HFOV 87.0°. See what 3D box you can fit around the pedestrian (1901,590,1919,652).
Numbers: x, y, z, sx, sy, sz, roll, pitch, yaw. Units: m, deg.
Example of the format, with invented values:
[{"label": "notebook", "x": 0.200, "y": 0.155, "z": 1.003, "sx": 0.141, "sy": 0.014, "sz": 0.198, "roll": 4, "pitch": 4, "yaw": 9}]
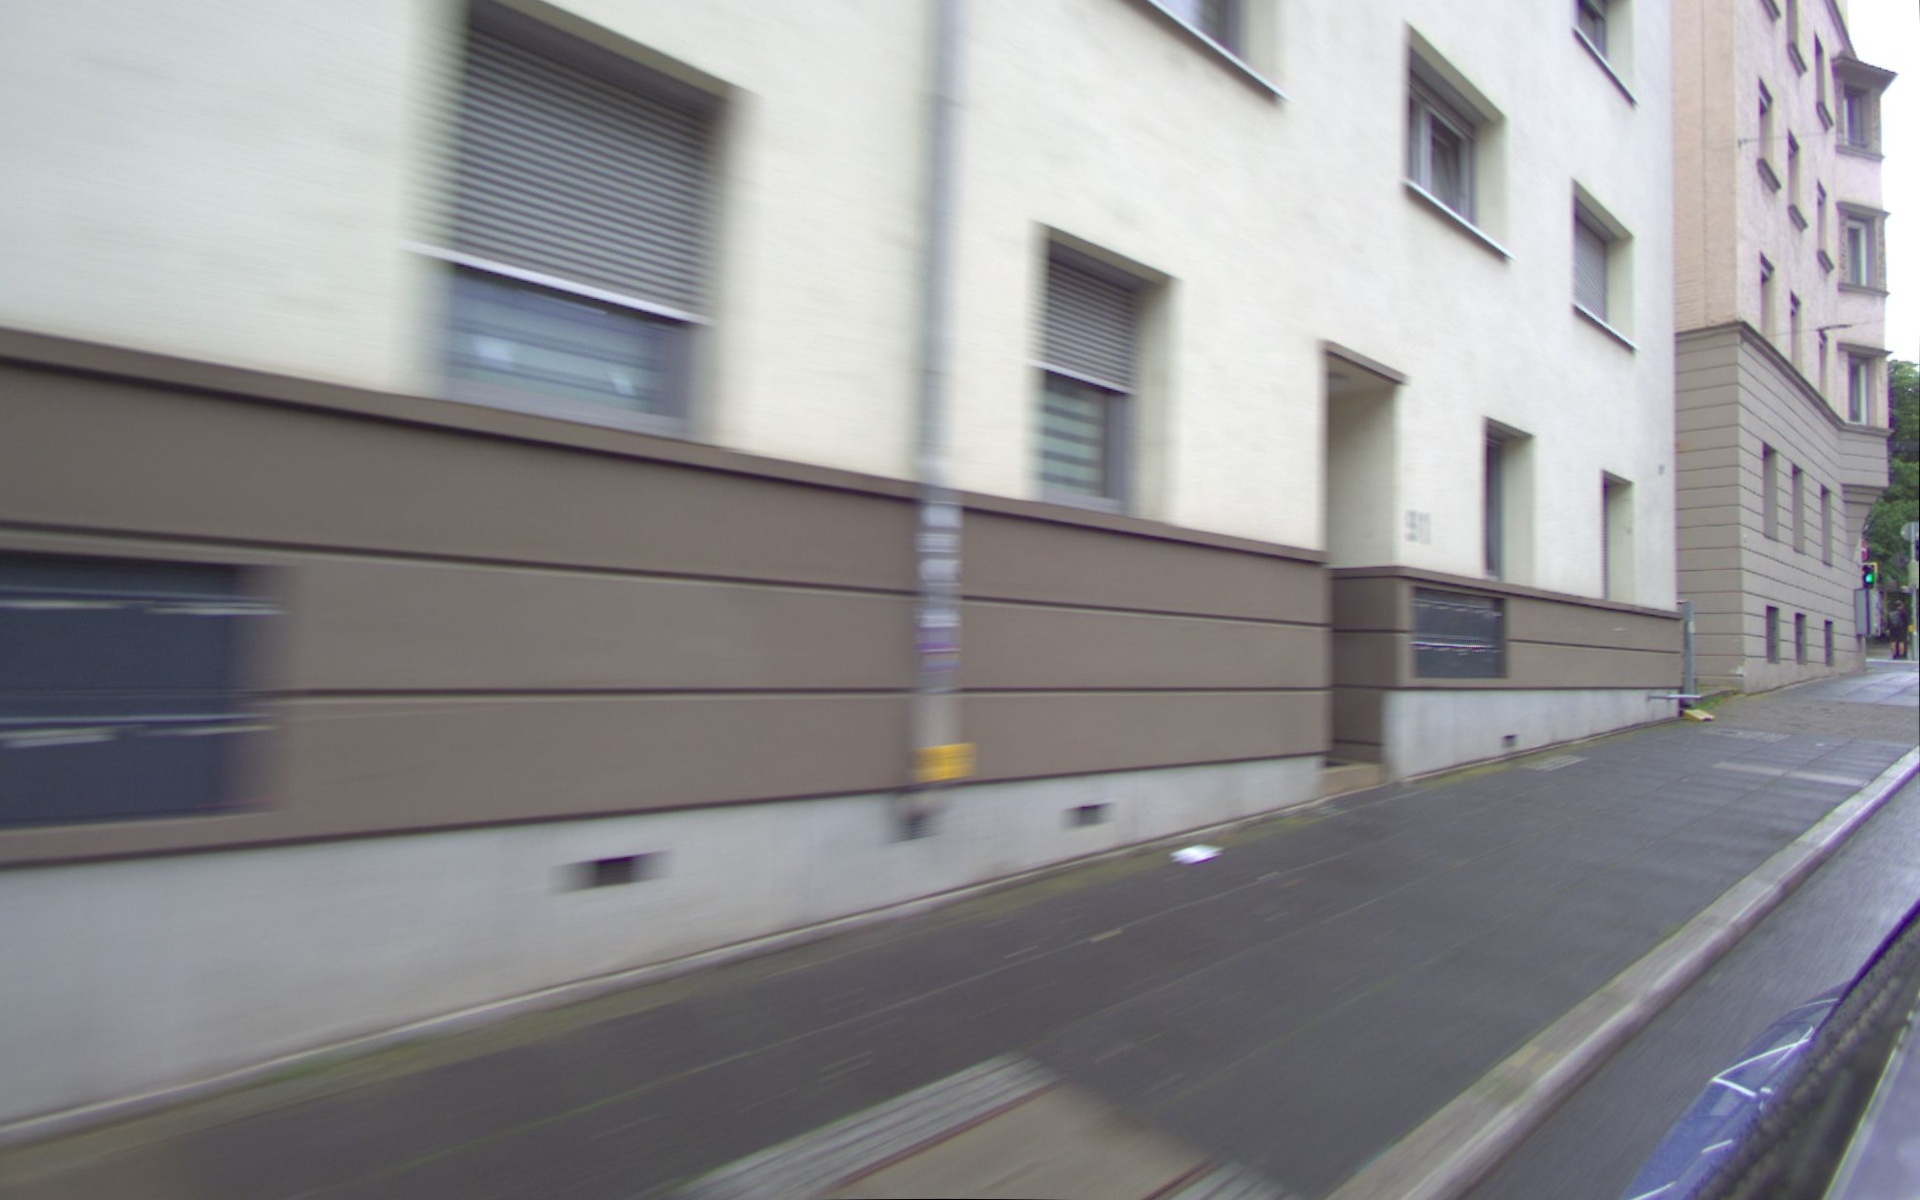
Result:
[{"label": "pedestrian", "x": 29.999, "y": 0.647, "z": 31.815, "sx": 0.594, "sy": 1.940, "sz": 0.546, "roll": 1, "pitch": -1, "yaw": -44}]
